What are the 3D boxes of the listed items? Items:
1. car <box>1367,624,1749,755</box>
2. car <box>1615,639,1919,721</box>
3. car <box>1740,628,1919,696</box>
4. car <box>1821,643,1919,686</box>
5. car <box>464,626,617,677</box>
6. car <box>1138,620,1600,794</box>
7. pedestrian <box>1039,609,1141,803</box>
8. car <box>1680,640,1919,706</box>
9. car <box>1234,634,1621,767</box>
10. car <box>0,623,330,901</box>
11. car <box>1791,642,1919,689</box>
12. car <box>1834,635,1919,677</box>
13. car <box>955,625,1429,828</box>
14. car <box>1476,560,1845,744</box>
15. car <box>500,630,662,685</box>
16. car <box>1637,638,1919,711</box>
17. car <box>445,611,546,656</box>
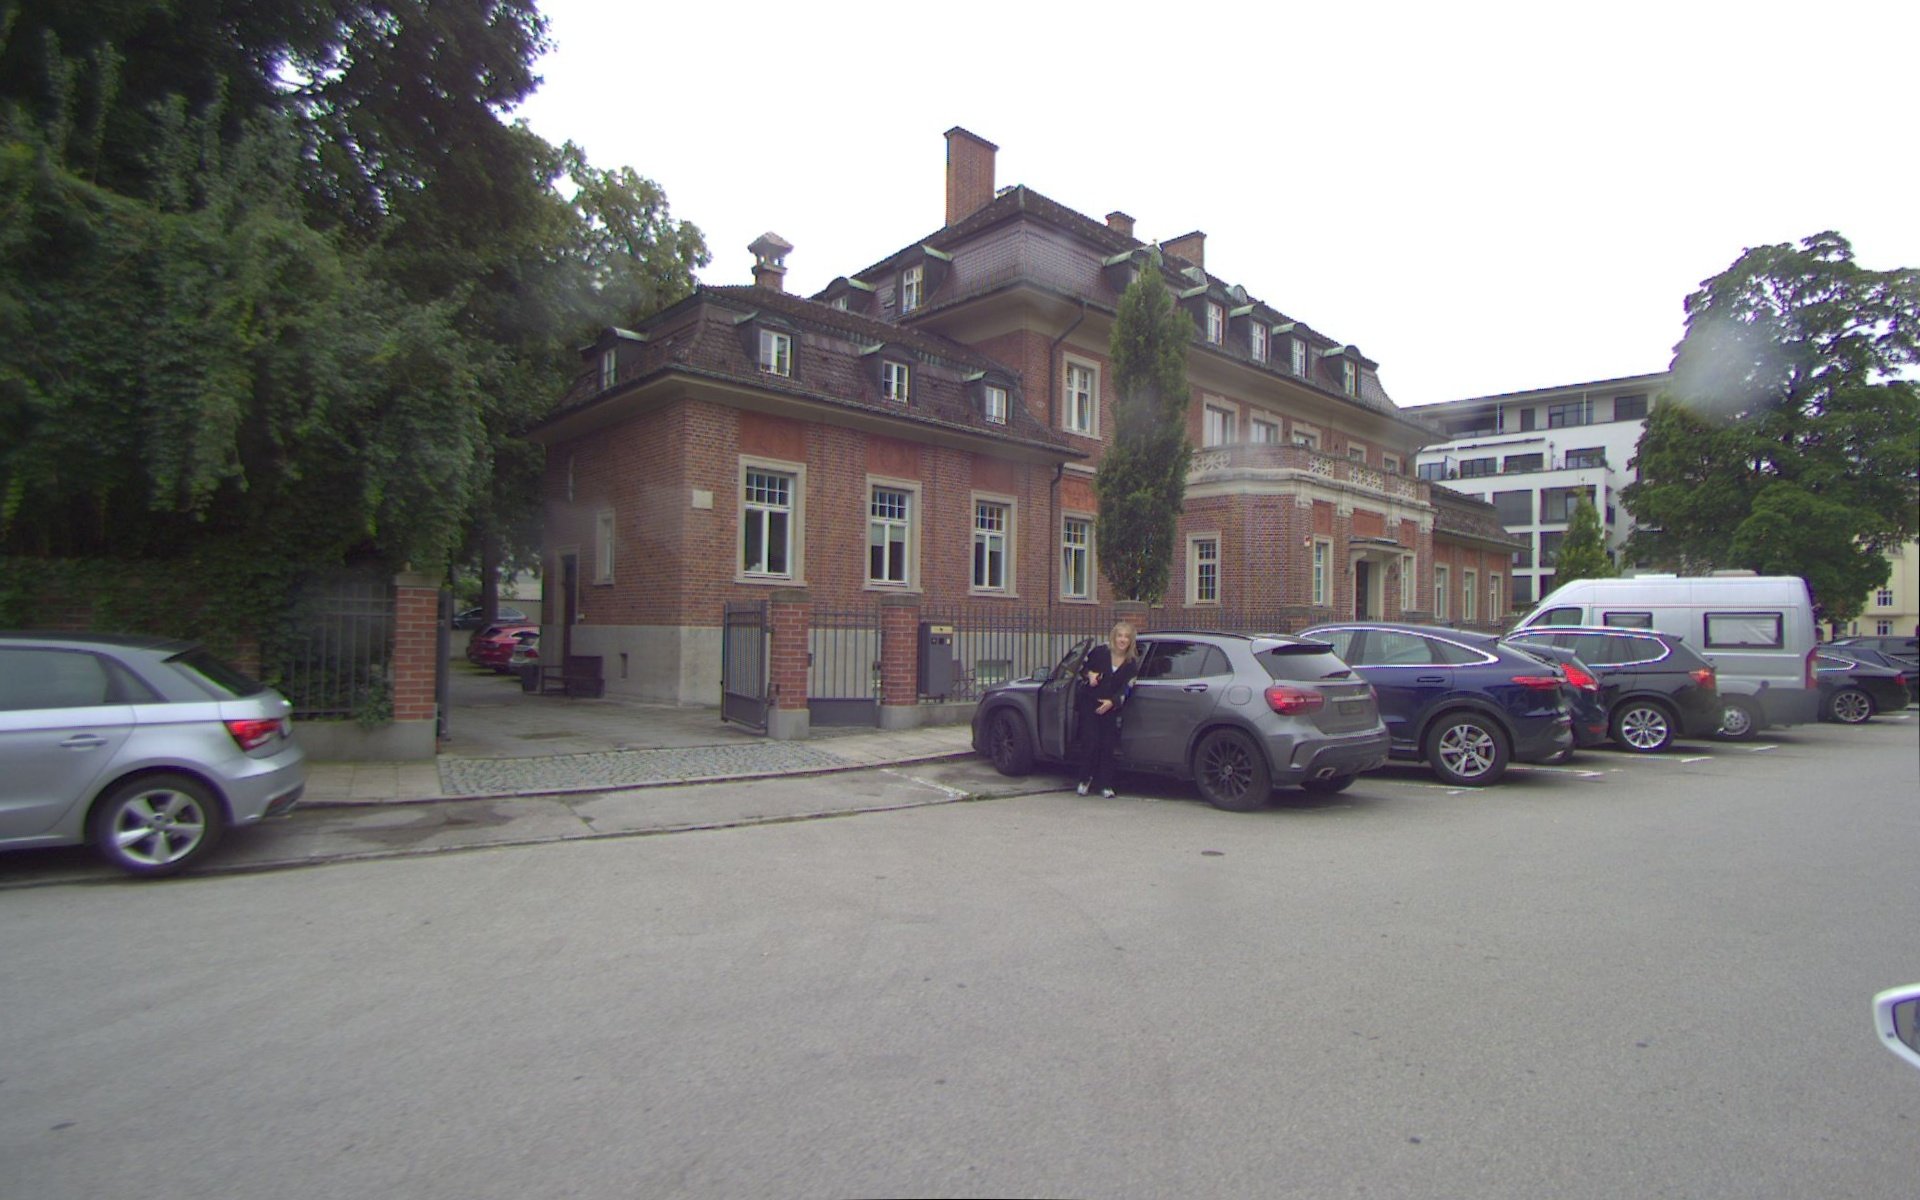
[{"bbox_3d":[8.424,1.240,14.581,4.445,1.646,1.964,-2,-4,29],"label":"car"},{"bbox_3d":[15.746,1.521,19.826,4.442,1.470,1.976,-2,-3,25],"label":"car"},{"bbox_3d":[23.472,1.602,26.254,4.440,1.686,1.988,-1,-3,22],"label":"car"},{"bbox_3d":[32.945,2.219,34.710,4.427,1.470,1.898,-1,-2,18],"label":"car"},{"bbox_3d":[-12.443,1.488,29.932,3.854,1.407,1.732,2,-2,-43],"label":"car"},{"bbox_3d":[4.465,1.104,11.316,4.445,1.614,1.963,-2,-3,29],"label":"car"},{"bbox_3d":[1.175,0.933,9.113,0.707,1.669,0.586,2,-3,-34],"label":"pedestrian"},{"bbox_3d":[19.794,1.680,23.474,4.440,1.436,1.927,-2,-3,22],"label":"car"},{"bbox_3d":[6.026,1.251,13.255,4.344,1.506,1.830,-2,-4,30],"label":"car"},{"bbox_3d":[-6.330,0.952,6.110,4.099,1.555,1.733,1,-4,-30],"label":"car"},{"bbox_3d":[30.187,2.123,32.825,4.310,1.470,1.657,-1,-2,21],"label":"car"},{"bbox_3d":[40.484,2.382,42.848,4.322,1.721,2.139,0,-2,10],"label":"car"},{"bbox_3d":[2.081,1.060,9.983,1.919,1.549,4.293,4,-3,-41],"label":"car"},{"bbox_3d":[10.941,0.819,16.210,4.553,2.597,2.231,-2,-2,29],"label":"car"},{"bbox_3d":[-10.504,1.550,27.957,3.854,1.407,1.732,2,-2,-43],"label":"car"},{"bbox_3d":[17.658,1.603,21.917,4.440,1.470,1.820,-2,-3,22],"label":"car"},{"bbox_3d":[-22.161,1.589,47.971,3.970,2.040,1.976,2,-2,-42],"label":"car"}]
